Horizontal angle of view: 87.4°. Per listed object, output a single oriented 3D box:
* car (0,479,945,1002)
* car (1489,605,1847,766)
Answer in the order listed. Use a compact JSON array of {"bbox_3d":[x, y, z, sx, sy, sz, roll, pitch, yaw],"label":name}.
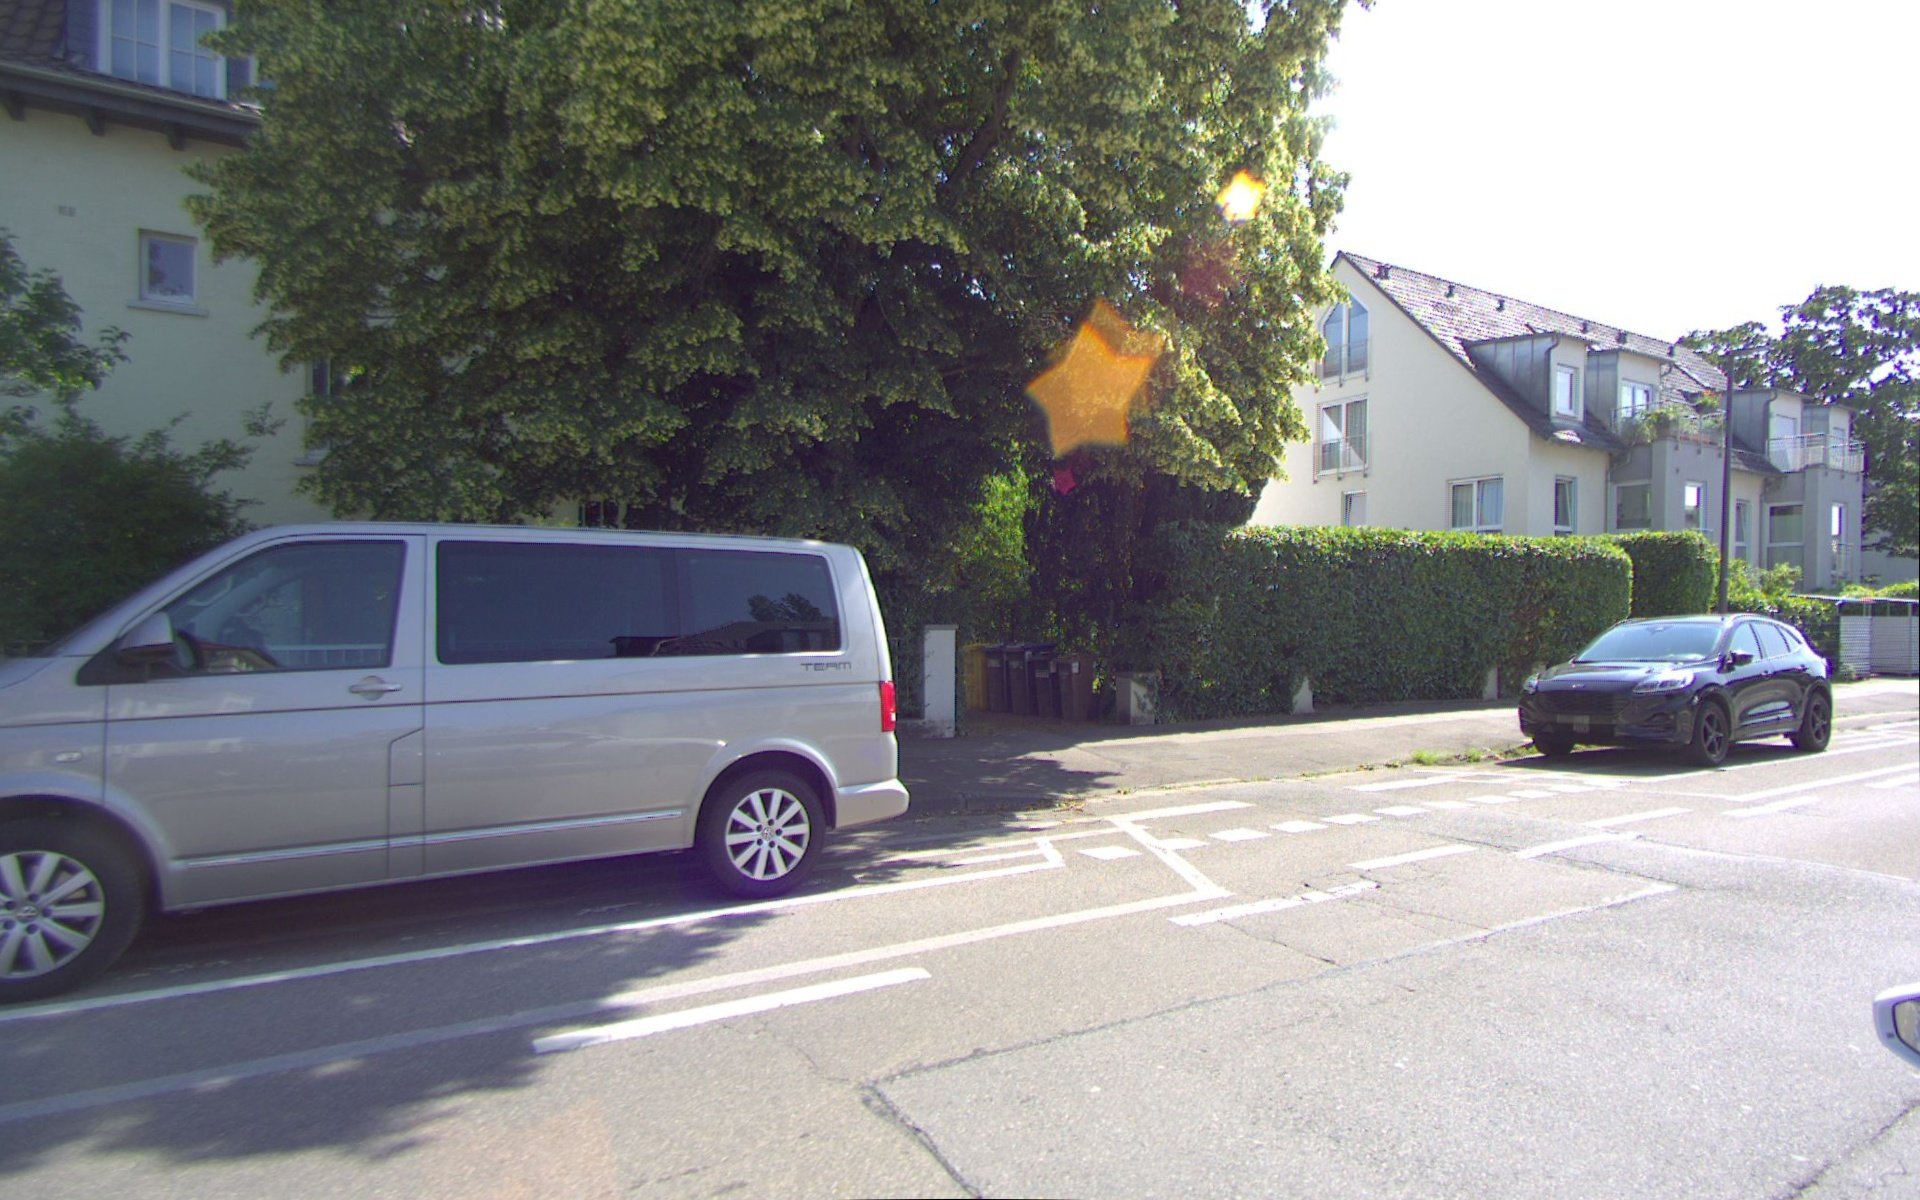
[{"bbox_3d":[-2.623,0.596,5.407,4.811,1.944,1.876,1,-3,-31],"label":"car"},{"bbox_3d":[8.580,0.949,12.103,4.396,1.632,1.842,1,-3,-30],"label":"car"}]
